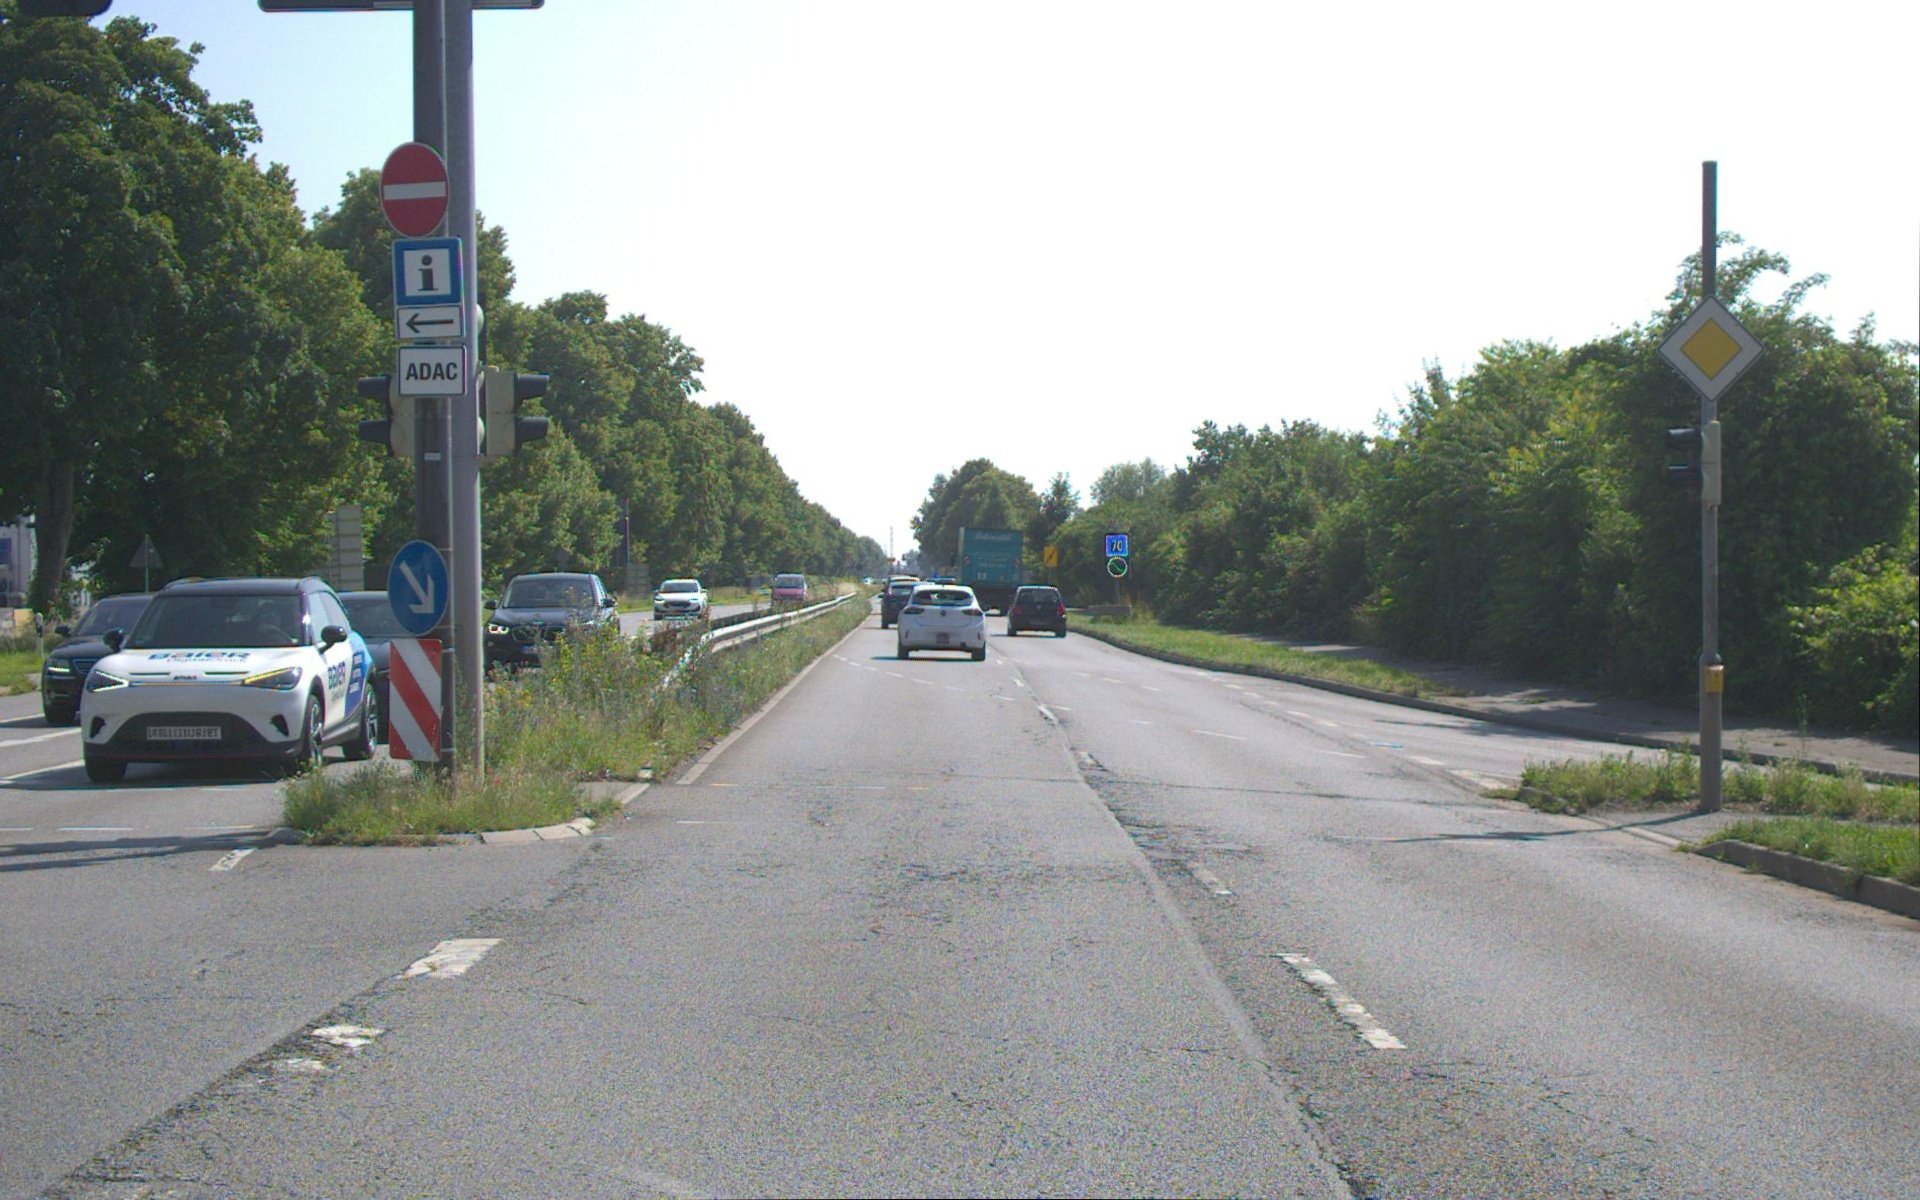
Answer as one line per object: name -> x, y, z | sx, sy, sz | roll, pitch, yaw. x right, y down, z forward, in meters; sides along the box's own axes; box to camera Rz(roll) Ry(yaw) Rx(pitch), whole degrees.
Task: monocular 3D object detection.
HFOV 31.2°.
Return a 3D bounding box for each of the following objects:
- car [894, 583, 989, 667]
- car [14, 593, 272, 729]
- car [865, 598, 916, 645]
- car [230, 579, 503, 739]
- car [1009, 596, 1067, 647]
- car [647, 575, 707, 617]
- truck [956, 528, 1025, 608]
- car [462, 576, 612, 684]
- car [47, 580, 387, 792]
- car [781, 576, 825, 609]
car -> -0.344, 0.467, 67.726 | 1.799, 1.547, 4.000 | 1, 1, 0
car -> -9.427, 0.667, 40.016 | 1.930, 1.432, 4.267 | -1, 1, 1
car -> -2.173, 0.661, 108.337 | 1.572, 1.409, 3.277 | 0, 1, 0
car -> -6.020, 0.549, 35.426 | 1.817, 1.480, 4.893 | 1, 0, 1
car -> 2.222, 0.617, 98.436 | 1.572, 1.410, 3.277 | 1, 0, 0
car -> -10.441, -0.154, 127.032 | 1.993, 1.497, 4.091 | 0, 1, -2
truck -> 1.298, -1.410, 151.036 | 2.891, 3.417, 9.169 | 0, 1, 0
car -> -6.511, 0.432, 53.332 | 1.846, 1.589, 4.617 | 0, 0, -1
car -> -6.127, 0.657, 28.839 | 2.010, 1.604, 4.211 | 0, 1, -1
car -> -7.120, -0.351, 156.195 | 1.912, 1.497, 4.091 | 0, 1, -2
